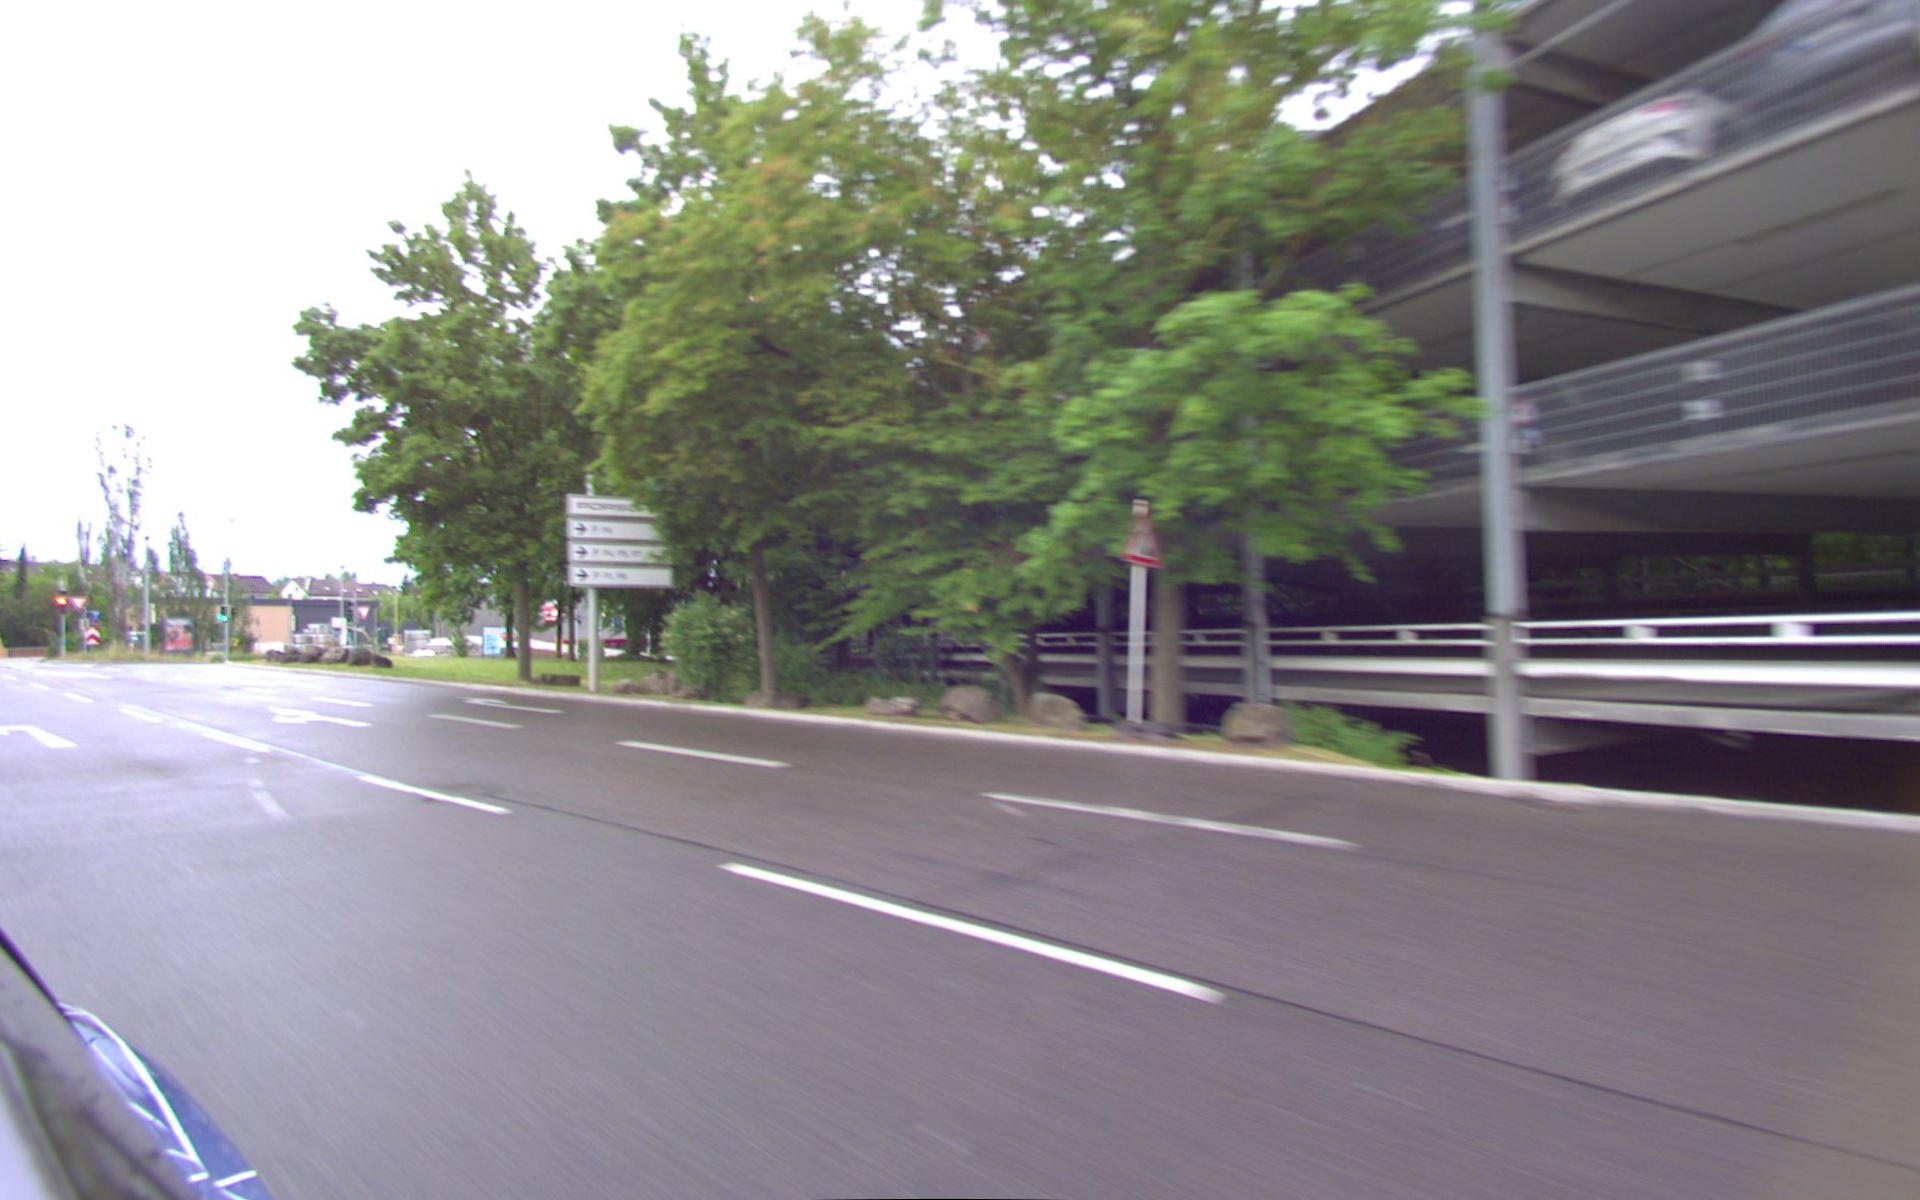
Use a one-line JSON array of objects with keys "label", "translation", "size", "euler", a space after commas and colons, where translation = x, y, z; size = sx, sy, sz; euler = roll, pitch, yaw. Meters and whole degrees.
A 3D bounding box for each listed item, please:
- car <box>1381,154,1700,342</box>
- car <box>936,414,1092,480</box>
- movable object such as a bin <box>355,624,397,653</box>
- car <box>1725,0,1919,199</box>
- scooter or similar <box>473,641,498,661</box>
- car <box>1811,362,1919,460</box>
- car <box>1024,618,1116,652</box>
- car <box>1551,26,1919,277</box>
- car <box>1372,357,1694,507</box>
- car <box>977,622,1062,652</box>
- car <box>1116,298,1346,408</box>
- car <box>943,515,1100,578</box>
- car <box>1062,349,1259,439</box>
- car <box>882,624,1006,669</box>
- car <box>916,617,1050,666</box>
[{"label": "car", "translation": [8.514, -5.045, 14.921], "size": [3.931, 1.530, 2.006], "euler": [1, -2, -20]}, {"label": "car", "translation": [1.533, -4.360, 29.134], "size": [3.931, 1.530, 2.006], "euler": [-3, -1, -20]}, {"label": "movable object such as a bin", "translation": [-56.420, 3.775, 97.860], "size": [1.927, 2.647, 2.958], "euler": [-3, -5, 41]}, {"label": "car", "translation": [10.172, -5.430, 10.268], "size": [3.931, 1.530, 2.006], "euler": [1, -2, -20]}, {"label": "scooter or similar", "translation": [-31.140, 3.374, 66.428], "size": [0.548, 1.269, 1.341], "euler": [-3, -5, 35]}, {"label": "car", "translation": [22.178, -4.325, 23.557], "size": [3.930, 1.530, 2.006], "euler": [1, -2, -23]}, {"label": "car", "translation": [5.239, 1.677, 48.288], "size": [3.931, 1.530, 2.006], "euler": [1, -2, -27]}, {"label": "car", "translation": [9.592, -5.294, 12.397], "size": [3.931, 1.530, 2.006], "euler": [1, -2, -20]}, {"label": "car", "translation": [8.322, -2.341, 14.775], "size": [3.931, 1.530, 2.006], "euler": [1, -2, -20]}, {"label": "car", "translation": [3.074, 1.924, 52.451], "size": [3.931, 1.530, 2.006], "euler": [1, -2, -27]}, {"label": "car", "translation": [5.402, -4.856, 20.272], "size": [3.931, 1.530, 2.006], "euler": [-3, -1, -20]}, {"label": "car", "translation": [1.737, -1.521, 29.003], "size": [3.931, 1.530, 2.006], "euler": [-3, -1, -20]}, {"label": "car", "translation": [4.612, -4.692, 23.410], "size": [3.931, 1.530, 2.006], "euler": [-3, -1, -20]}, {"label": "car", "translation": [-0.568, 1.633, 35.854], "size": [3.930, 1.530, 2.006], "euler": [1, -2, -22]}, {"label": "car", "translation": [0.738, 1.355, 33.244], "size": [3.931, 1.530, 2.006], "euler": [1, -2, -20]}]
